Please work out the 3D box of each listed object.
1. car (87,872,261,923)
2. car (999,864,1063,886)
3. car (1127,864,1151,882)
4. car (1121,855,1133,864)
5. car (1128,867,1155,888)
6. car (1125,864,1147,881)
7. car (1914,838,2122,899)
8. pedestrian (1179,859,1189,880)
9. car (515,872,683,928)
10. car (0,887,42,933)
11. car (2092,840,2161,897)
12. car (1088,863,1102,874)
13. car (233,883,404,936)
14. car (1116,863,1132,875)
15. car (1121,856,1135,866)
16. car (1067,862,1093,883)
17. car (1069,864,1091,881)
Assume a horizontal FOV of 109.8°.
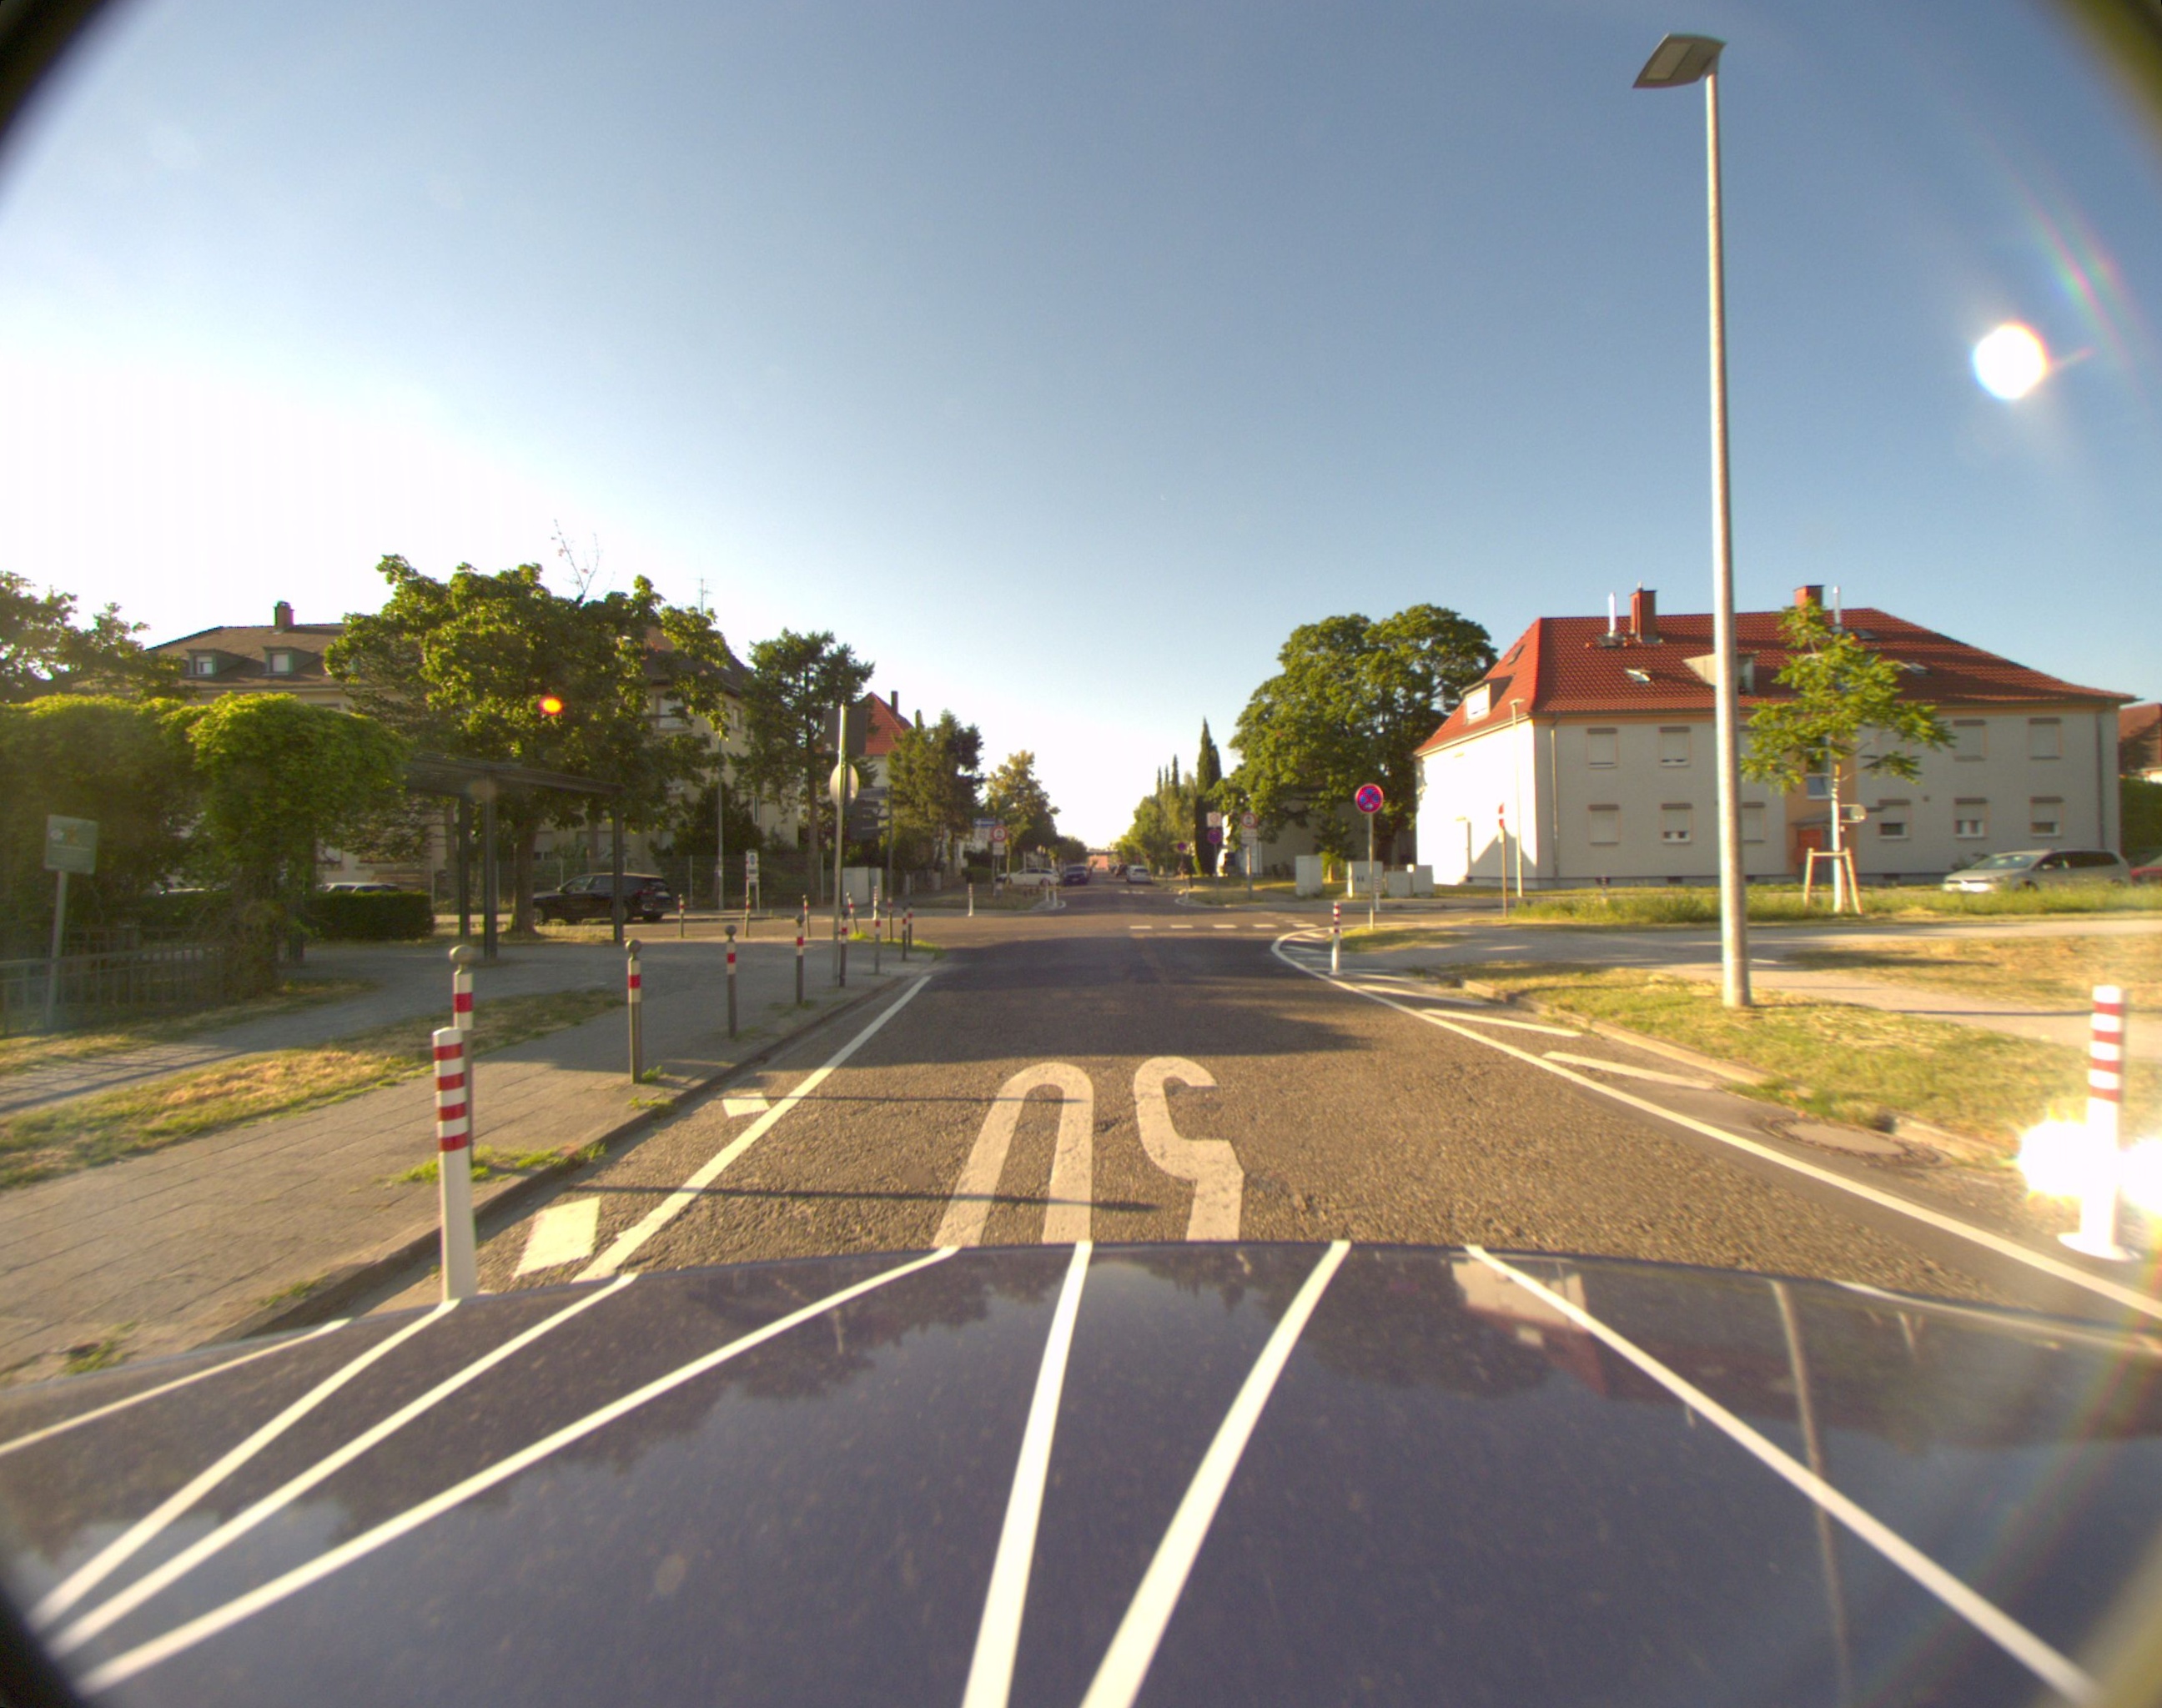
[{"bbox_3d":[-29.586,1.408,24.858,3.756,1.509,1.736,-1,0,3],"label":"car"},{"bbox_3d":[-3.837,1.633,58.942,4.834,1.604,1.972,-1,0,0],"label":"car"},{"bbox_3d":[5.392,1.742,71.095,1.970,1.604,4.248,-1,-1,1],"label":"car"},{"bbox_3d":[8.562,1.012,140.457,1.970,1.604,4.248,-1,-1,1],"label":"car"},{"bbox_3d":[5.037,1.959,63.942,1.970,1.604,4.248,-1,-1,1],"label":"car"},{"bbox_3d":[5.449,1.774,75.511,1.970,1.604,4.248,-1,-1,1],"label":"car"},{"bbox_3d":[28.354,0.459,23.094,3.997,1.685,1.851,-1,-2,0],"label":"car"},{"bbox_3d":[10.120,1.528,74.724,0.898,2.002,0.693,-1,0,0],"label":"pedestrian"},{"bbox_3d":[-15.311,1.465,24.316,4.213,1.631,1.824,-1,-3,0],"label":"car"},{"bbox_3d":[-38.115,1.949,25.602,3.770,1.517,1.771,-1,1,1],"label":"car"},{"bbox_3d":[34.019,0.405,23.105,3.997,1.685,1.851,-1,-2,0],"label":"car"},{"bbox_3d":[2.138,2.200,116.754,1.971,1.604,4.247,-1,-1,-2],"label":"car"},{"bbox_3d":[-24.459,1.763,24.463,3.769,1.517,1.771,-1,1,3],"label":"car"},{"bbox_3d":[6.157,2.152,109.190,1.970,1.604,4.248,-1,-1,1],"label":"car"},{"bbox_3d":[7.652,1.174,124.344,1.970,1.604,4.247,-1,-1,0],"label":"car"},{"bbox_3d":[-0.139,1.523,62.570,1.971,1.604,4.247,-1,-1,-2],"label":"car"},{"bbox_3d":[-0.131,1.853,75.408,1.971,1.604,4.247,-1,-1,-2],"label":"car"}]
